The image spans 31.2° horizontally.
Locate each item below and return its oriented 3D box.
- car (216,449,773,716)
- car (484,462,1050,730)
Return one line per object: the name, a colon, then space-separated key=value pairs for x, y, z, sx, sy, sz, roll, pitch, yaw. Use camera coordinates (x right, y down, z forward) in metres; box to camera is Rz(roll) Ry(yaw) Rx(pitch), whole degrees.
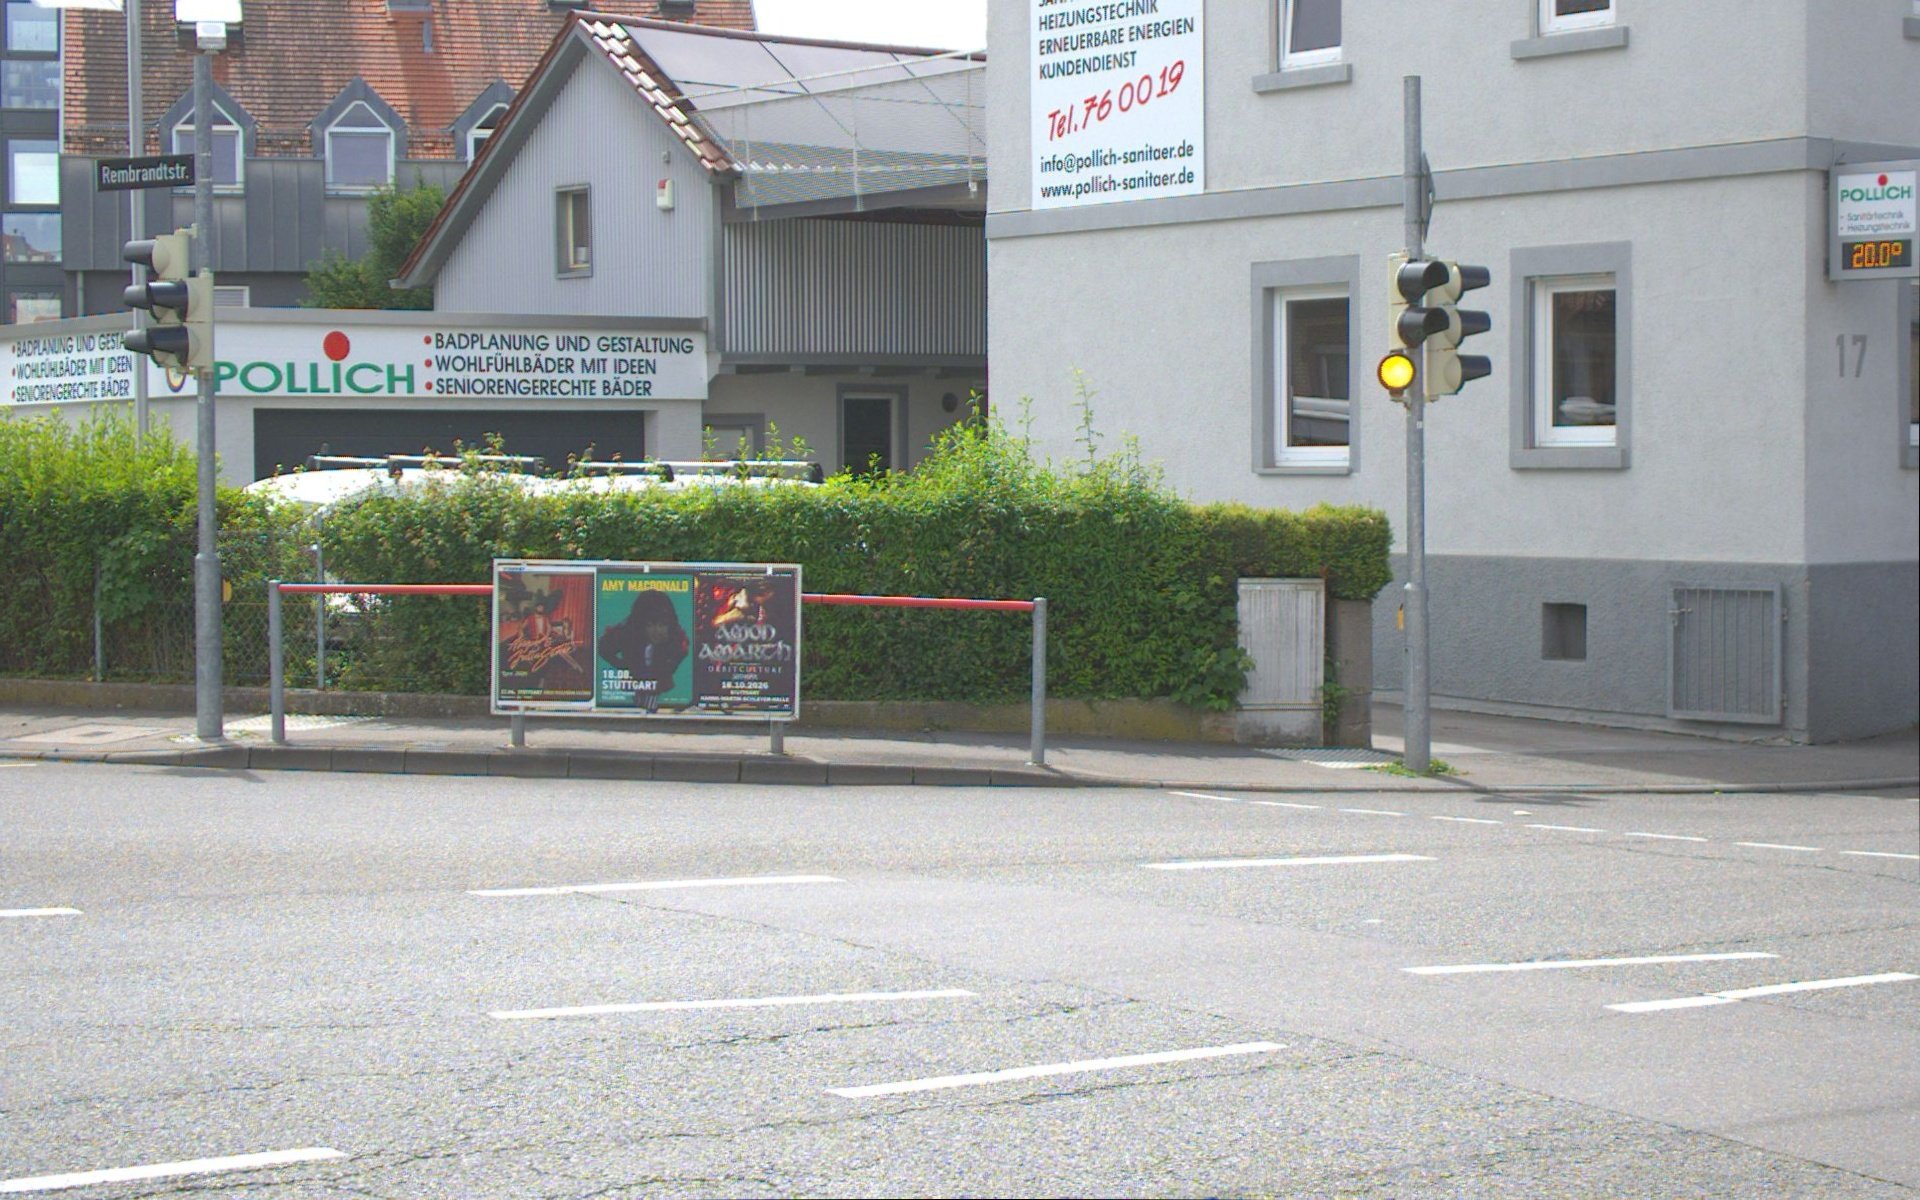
car: x=-3.734 y=-0.165 z=27.814 sx=3.988 sy=2.007 sz=2.000 roll=0 pitch=1 yaw=-37
car: x=-1.475 y=-0.053 z=26.870 sx=3.988 sy=1.941 sz=1.999 roll=0 pitch=1 yaw=-38
